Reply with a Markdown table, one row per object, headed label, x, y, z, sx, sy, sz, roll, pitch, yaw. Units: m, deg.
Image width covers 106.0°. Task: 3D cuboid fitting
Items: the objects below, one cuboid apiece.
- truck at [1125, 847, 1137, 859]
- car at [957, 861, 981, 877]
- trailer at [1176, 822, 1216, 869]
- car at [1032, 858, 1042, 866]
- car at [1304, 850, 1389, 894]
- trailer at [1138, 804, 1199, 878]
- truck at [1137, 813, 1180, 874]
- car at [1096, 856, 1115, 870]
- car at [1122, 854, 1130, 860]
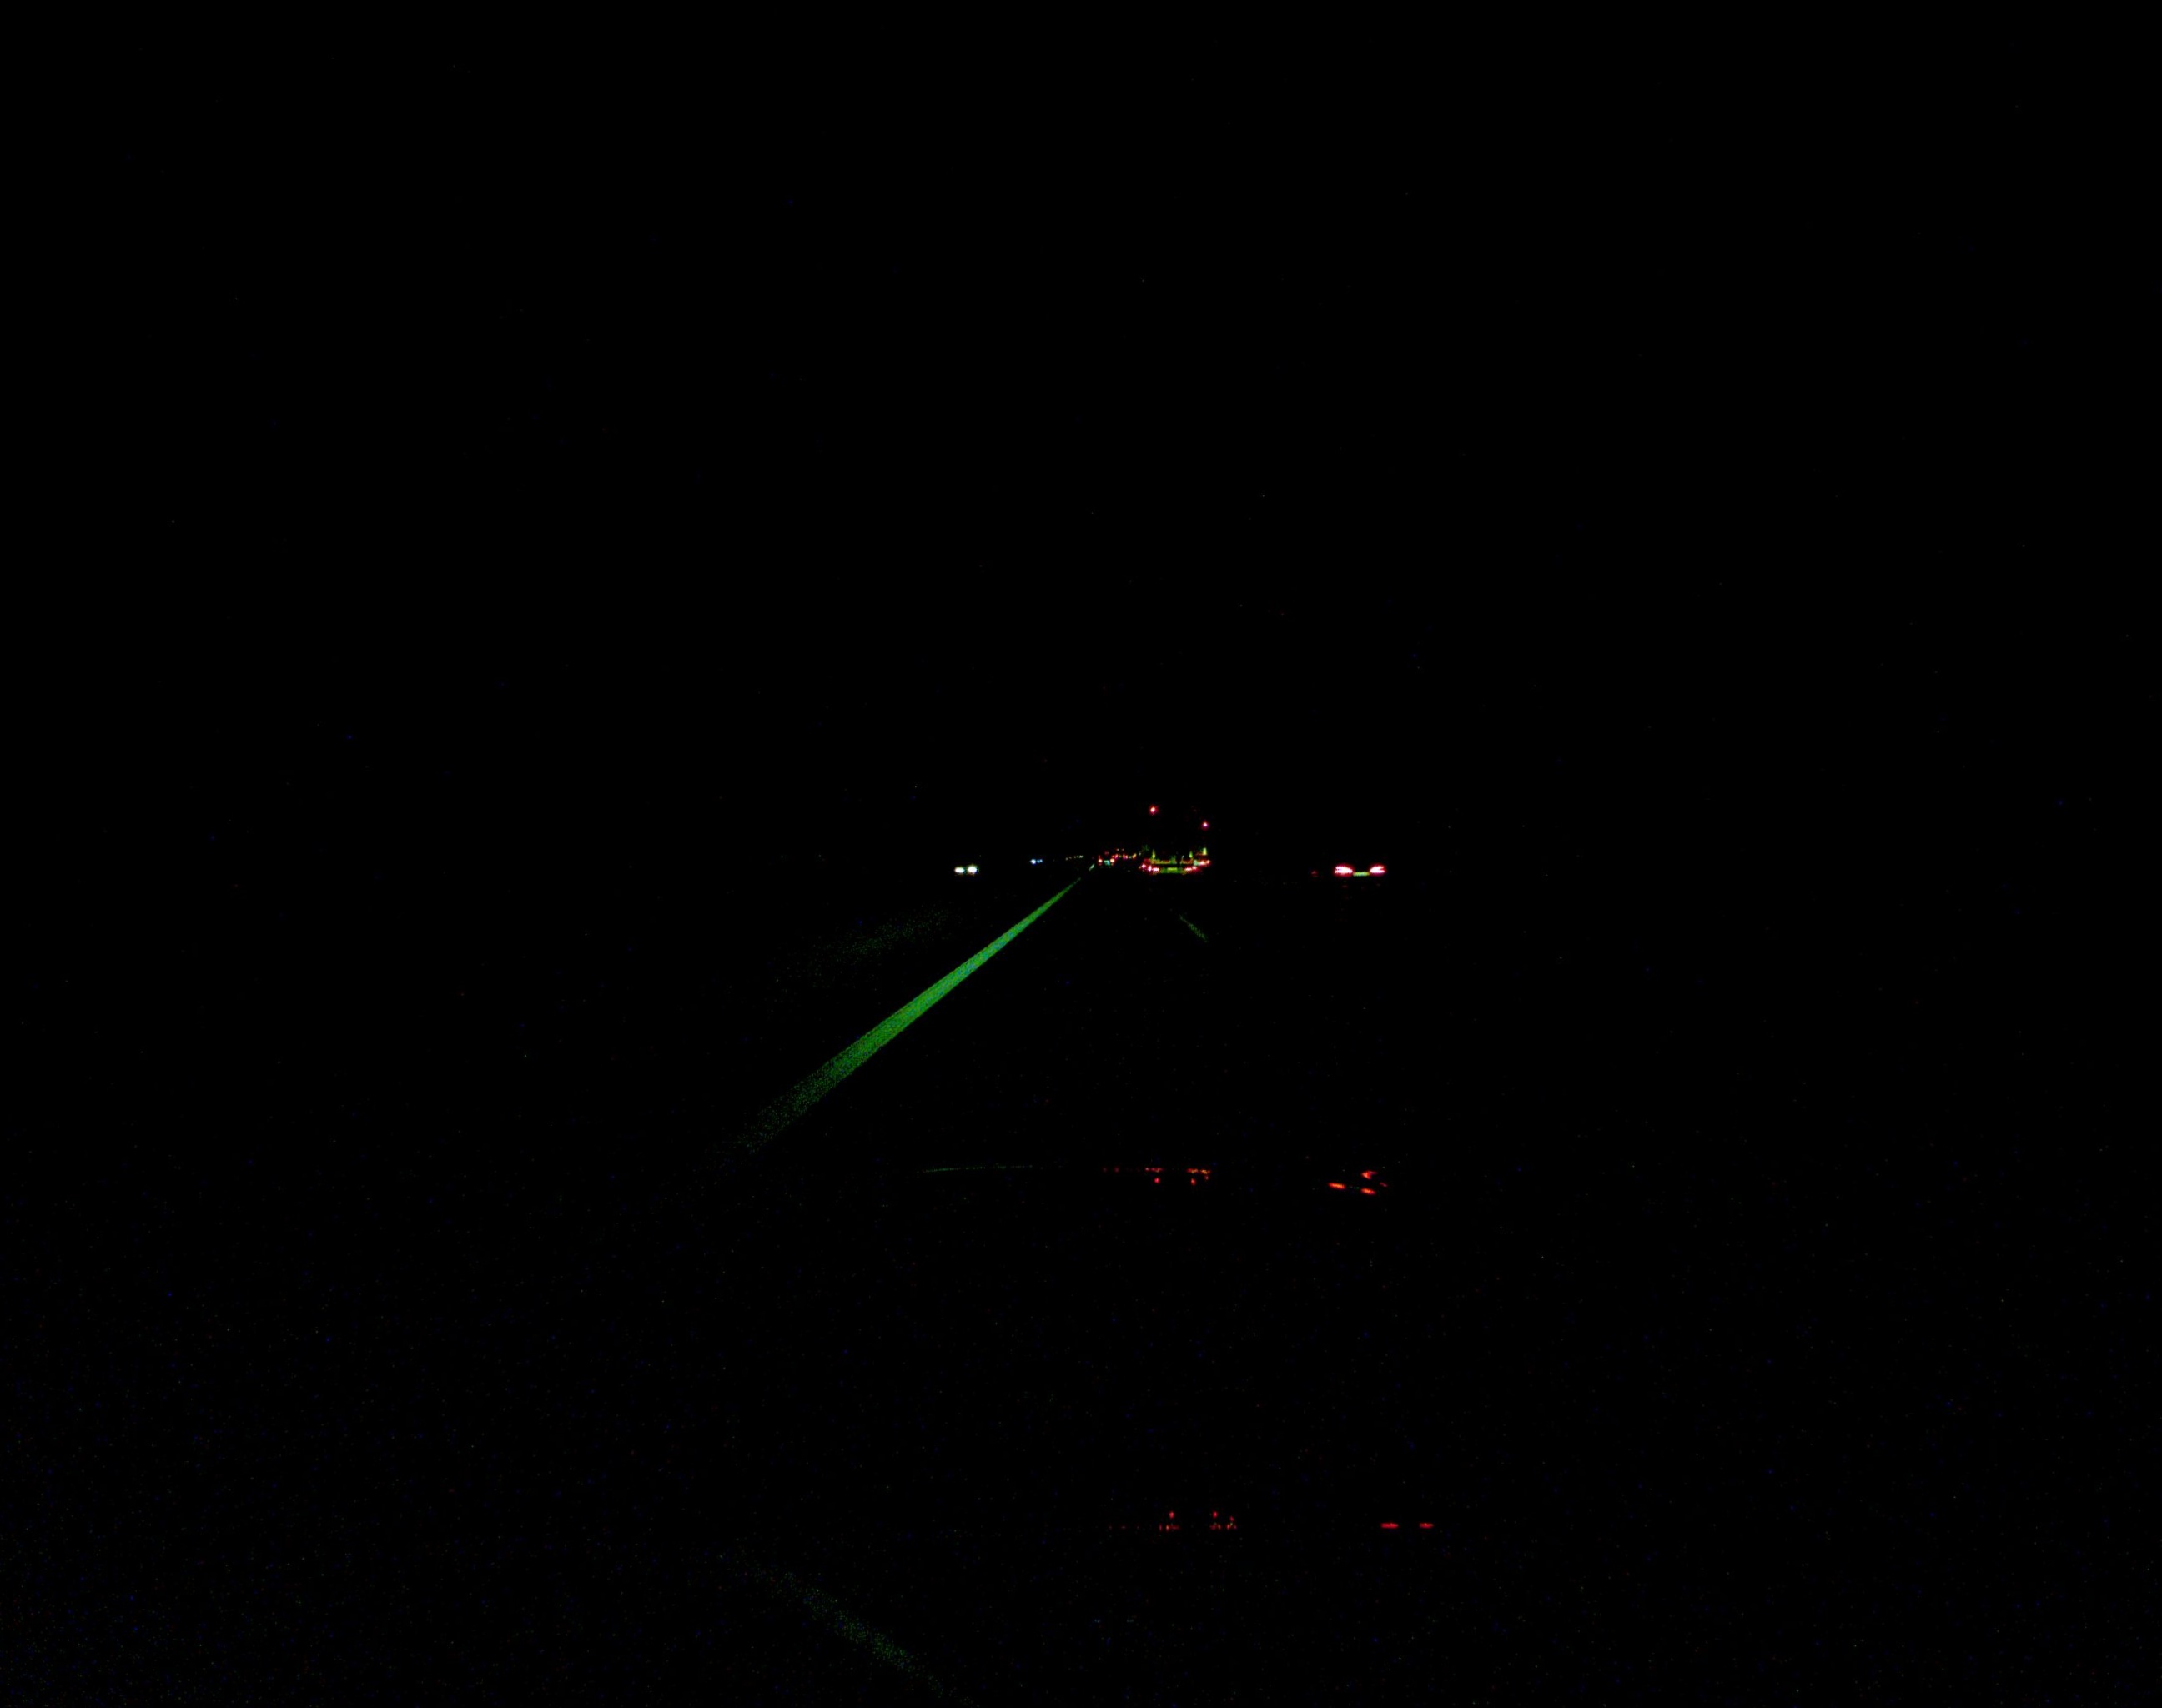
| label | x | y | z | sx | sy | sz | roll | pitch | yaw |
| --- | --- | --- | --- | --- | --- | --- | --- | --- | --- |
| truck | 12.057 | -0.163 | 196.327 | 2.071 | 2.691 | 7.302 | 0 | -1 | -2 |
| car | -12.235 | 1.638 | 89.493 | 1.815 | 1.466 | 4.560 | -5 | 0 | 1 |
| trailer | 10.664 | -0.717 | 76.469 | 2.582 | 4.072 | 10.010 | 0 | 0 | 1 |
| car | -10.024 | 1.810 | 184.645 | 1.744 | 1.478 | 4.943 | -4 | 0 | 1 |
| car | 9.565 | 0.621 | 29.674 | 1.814 | 1.466 | 4.249 | 0 | 0 | 2 |
| trailer | 5.446 | -0.729 | 53.090 | 2.732 | 4.206 | 13.512 | 0 | 0 | 1 |
| truck | 5.560 | -0.717 | 59.454 | 2.652 | 4.206 | 6.724 | 0 | 0 | 1 |
| car | 2.531 | 0.908 | 84.131 | 1.815 | 1.466 | 4.247 | 0 | 0 | 0 |
| car | 9.559 | 0.647 | 173.009 | 1.341 | 1.387 | 3.501 | 0 | 0 | 0 |
